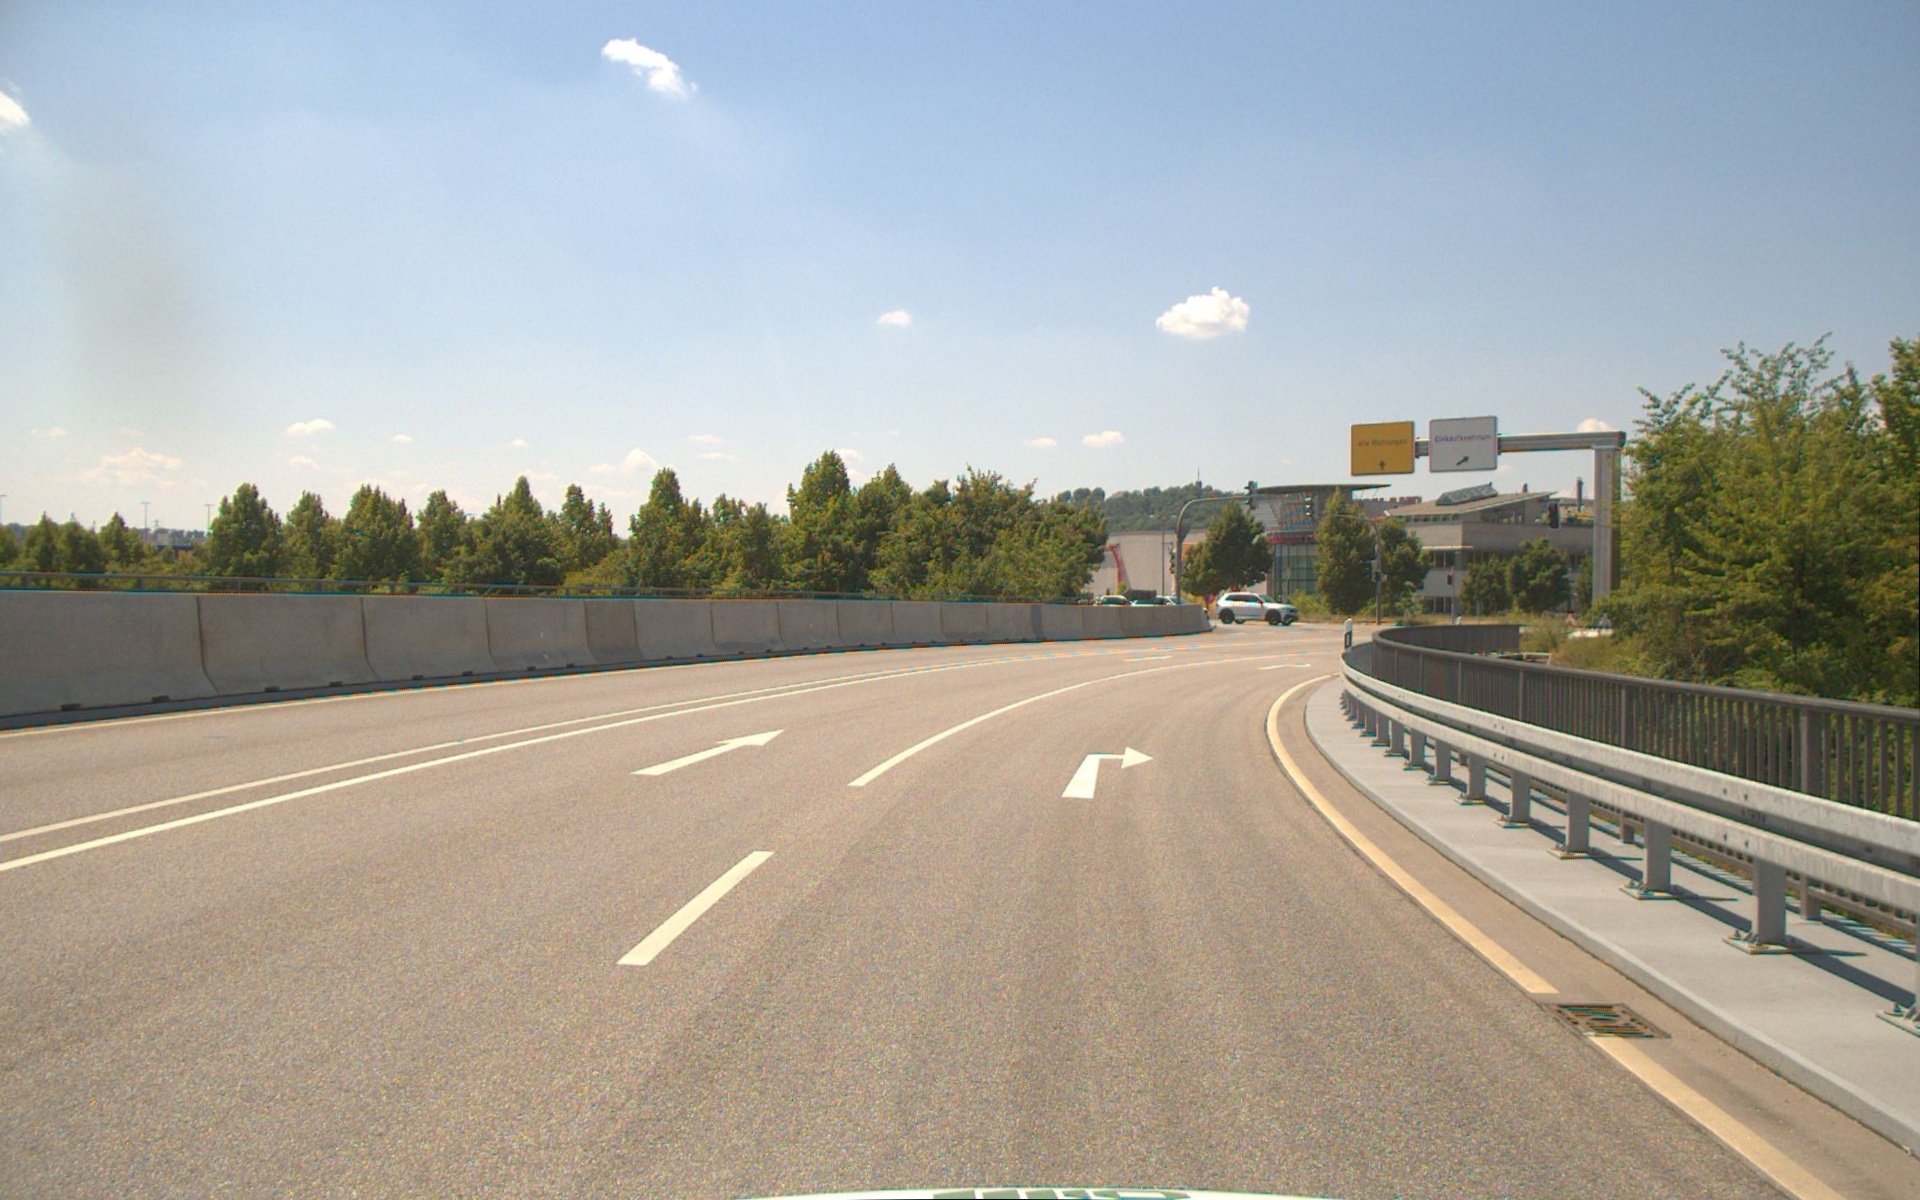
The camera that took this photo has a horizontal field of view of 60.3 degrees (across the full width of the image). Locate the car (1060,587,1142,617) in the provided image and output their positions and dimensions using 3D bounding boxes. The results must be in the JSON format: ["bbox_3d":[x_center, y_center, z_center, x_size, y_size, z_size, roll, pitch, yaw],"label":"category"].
[{"bbox_3d":[7.841,0.103,92.040,4.053,1.512,1.993,3,2,36],"label":"car"}]

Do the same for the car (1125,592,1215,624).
[{"bbox_3d":[10.786,0.396,85.069,1.780,1.521,4.477,0,1,-44],"label":"car"}]

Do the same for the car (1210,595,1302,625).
[{"bbox_3d":[15.481,0.541,86.523,4.305,1.532,1.994,0,-1,34],"label":"car"}]
